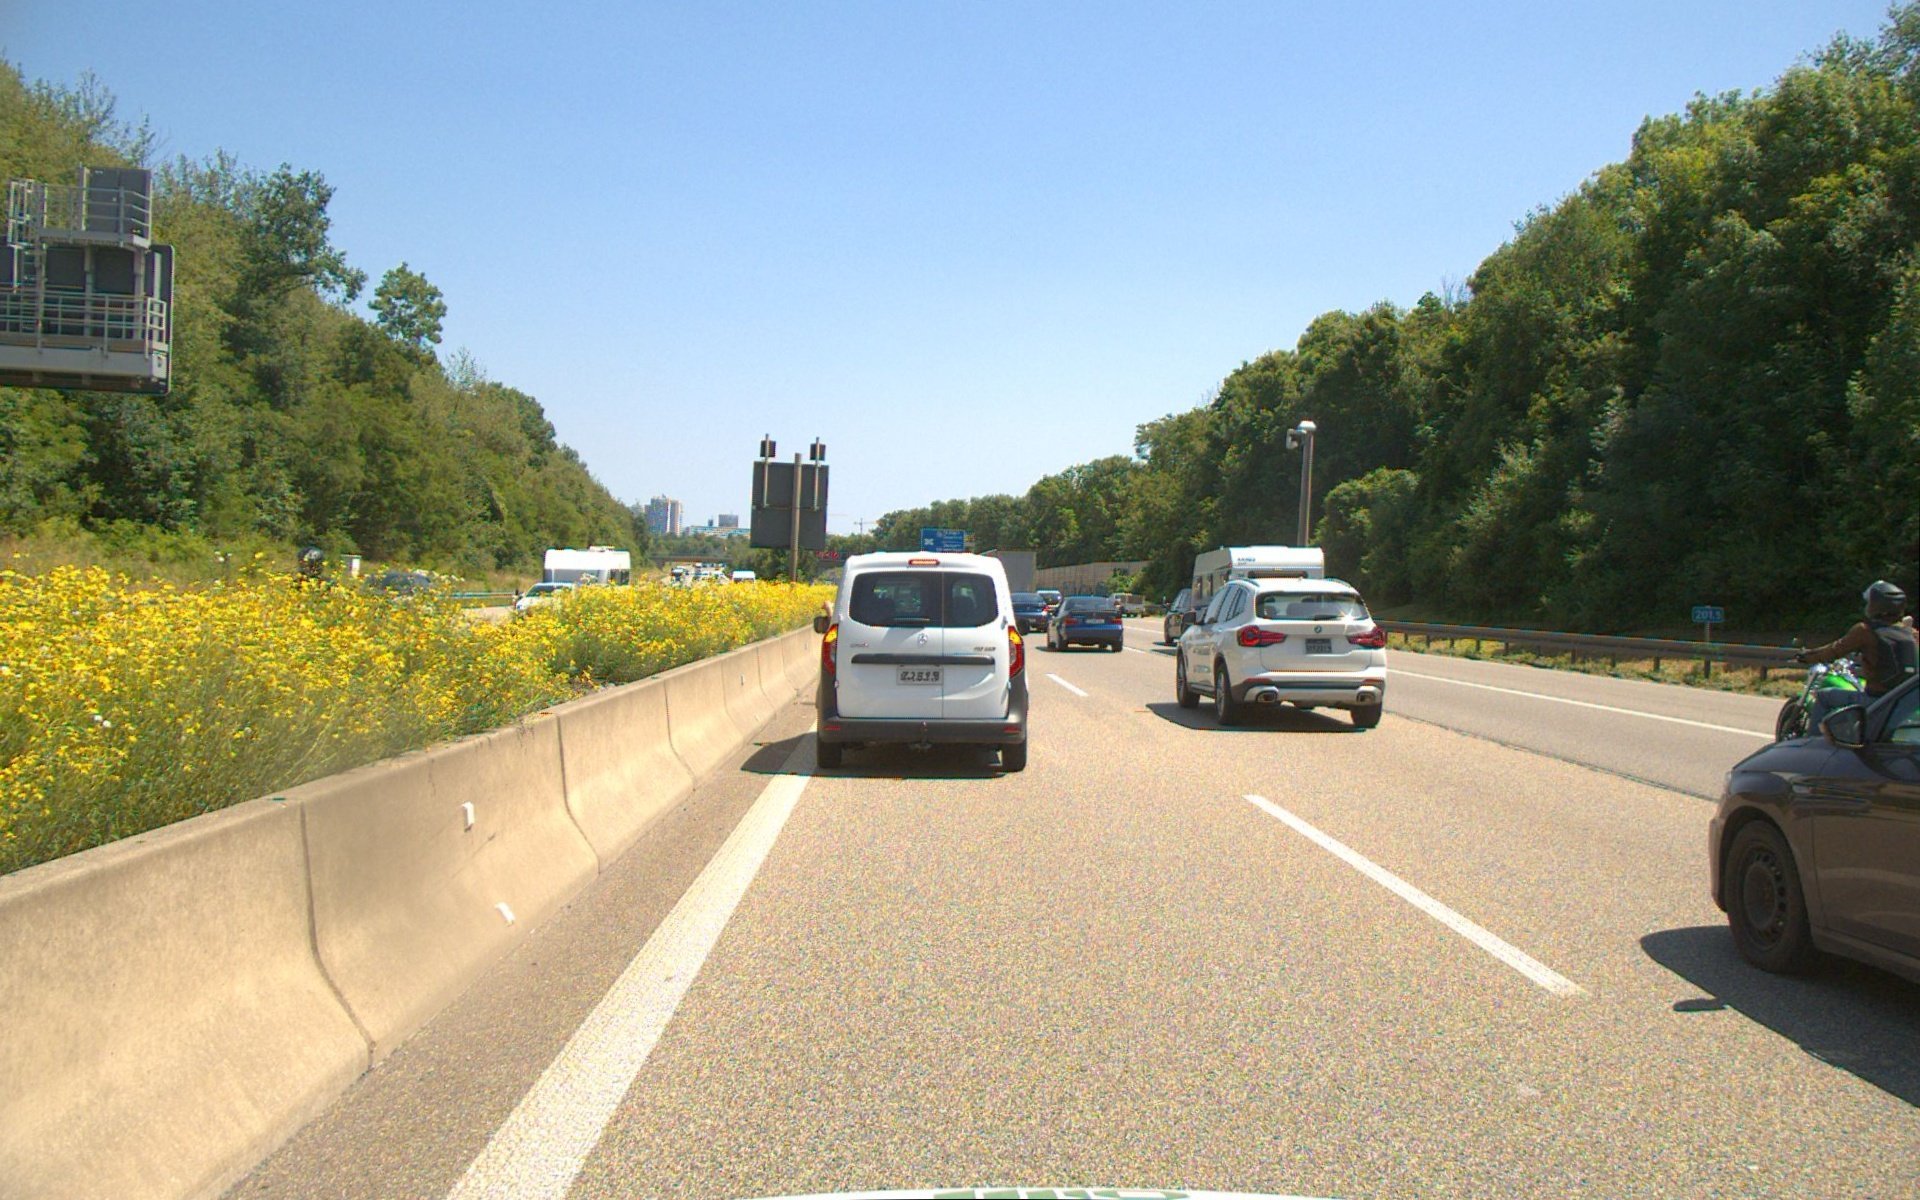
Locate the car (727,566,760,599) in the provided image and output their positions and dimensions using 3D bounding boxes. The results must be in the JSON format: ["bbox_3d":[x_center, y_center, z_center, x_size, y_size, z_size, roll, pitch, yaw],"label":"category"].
[{"bbox_3d":[-17.125,-1.385,130.914,1.953,2.586,5.907,1,0,-1],"label":"car"}]

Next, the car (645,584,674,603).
[{"bbox_3d":[-24.021,-0.528,132.158,1.752,1.479,3.540,1,0,-1],"label":"car"}]

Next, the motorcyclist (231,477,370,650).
[{"bbox_3d":[-7.182,-0.393,18.085,1.010,1.817,1.283,1,0,-1],"label":"motorcyclist"}]

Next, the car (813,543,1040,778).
[{"bbox_3d":[-0.333,0.464,15.082,1.766,1.839,3.998,1,0,-2],"label":"car"}]

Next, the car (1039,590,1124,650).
[{"bbox_3d":[3.075,0.470,42.624,1.787,1.449,3.999,1,0,-2],"label":"car"}]

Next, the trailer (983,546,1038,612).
[{"bbox_3d":[3.232,-1.356,108.920,3.019,4.055,10.320,1,0,-1],"label":"trailer"}]

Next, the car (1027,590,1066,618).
[{"bbox_3d":[4.631,0.183,88.904,1.787,1.449,3.999,1,0,-2],"label":"car"}]

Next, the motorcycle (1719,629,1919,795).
[{"bbox_3d":[7.345,0.896,14.028,0.841,1.202,2.277,1,1,3],"label":"motorcycle"}]

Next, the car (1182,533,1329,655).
[{"bbox_3d":[7.351,-0.159,41.904,2.429,2.814,6.218,1,0,-1],"label":"car"}]

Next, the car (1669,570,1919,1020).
[{"bbox_3d":[4.213,0.693,5.366,1.801,1.539,4.400,1,1,-2],"label":"car"}]

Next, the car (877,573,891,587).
[{"bbox_3d":[-10.975,-2.848,238.669,1.953,2.049,3.999,1,0,-1],"label":"car"}]

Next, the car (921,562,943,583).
[{"bbox_3d":[-2.816,-2.750,164.470,1.955,2.049,3.996,1,1,-5],"label":"car"}]

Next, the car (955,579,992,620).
[{"bbox_3d":[0.673,-0.048,85.331,1.787,2.024,3.999,1,0,-2],"label":"car"}]

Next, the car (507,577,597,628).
[{"bbox_3d":[-12.541,0.055,51.101,1.720,1.464,4.608,1,0,-1],"label":"car"}]

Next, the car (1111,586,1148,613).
[{"bbox_3d":[10.186,-0.056,99.812,1.752,1.545,3.999,1,0,-1],"label":"car"}]

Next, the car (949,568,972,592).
[{"bbox_3d":[0.024,-1.783,147.677,1.953,2.049,3.999,1,1,-1],"label":"car"}]

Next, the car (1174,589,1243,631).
[{"bbox_3d":[9.006,0.333,60.182,1.787,1.449,3.999,1,0,-2],"label":"car"}]

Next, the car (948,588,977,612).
[{"bbox_3d":[0.143,-0.016,105.545,1.787,1.472,3.999,1,0,-2],"label":"car"}]

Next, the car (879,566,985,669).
[{"bbox_3d":[-0.568,0.310,32.760,1.953,1.892,3.999,1,0,-2],"label":"car"}]

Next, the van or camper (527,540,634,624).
[{"bbox_3d":[-12.995,-0.610,57.111,2.262,2.682,7.396,1,0,-3],"label":"van or camper"}]

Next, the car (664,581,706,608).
[{"bbox_3d":[-16.730,-0.340,100.658,1.953,1.602,3.999,1,0,-1],"label":"car"}]

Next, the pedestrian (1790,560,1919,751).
[{"bbox_3d":[7.331,0.434,13.440,0.834,1.504,0.638,1,1,3],"label":"pedestrian"}]

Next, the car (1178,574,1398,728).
[{"bbox_3d":[3.861,0.528,20.098,1.833,1.636,3.878,1,1,-1],"label":"car"}]

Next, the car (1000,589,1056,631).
[{"bbox_3d":[2.441,0.324,60.274,1.787,1.449,3.999,1,0,-2],"label":"car"}]

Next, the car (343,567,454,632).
[{"bbox_3d":[-15.948,-0.029,47.203,1.720,1.725,4.421,1,0,-1],"label":"car"}]

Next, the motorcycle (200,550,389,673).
[{"bbox_3d":[-7.181,0.107,18.036,1.019,1.236,2.613,1,0,-1],"label":"motorcycle"}]
